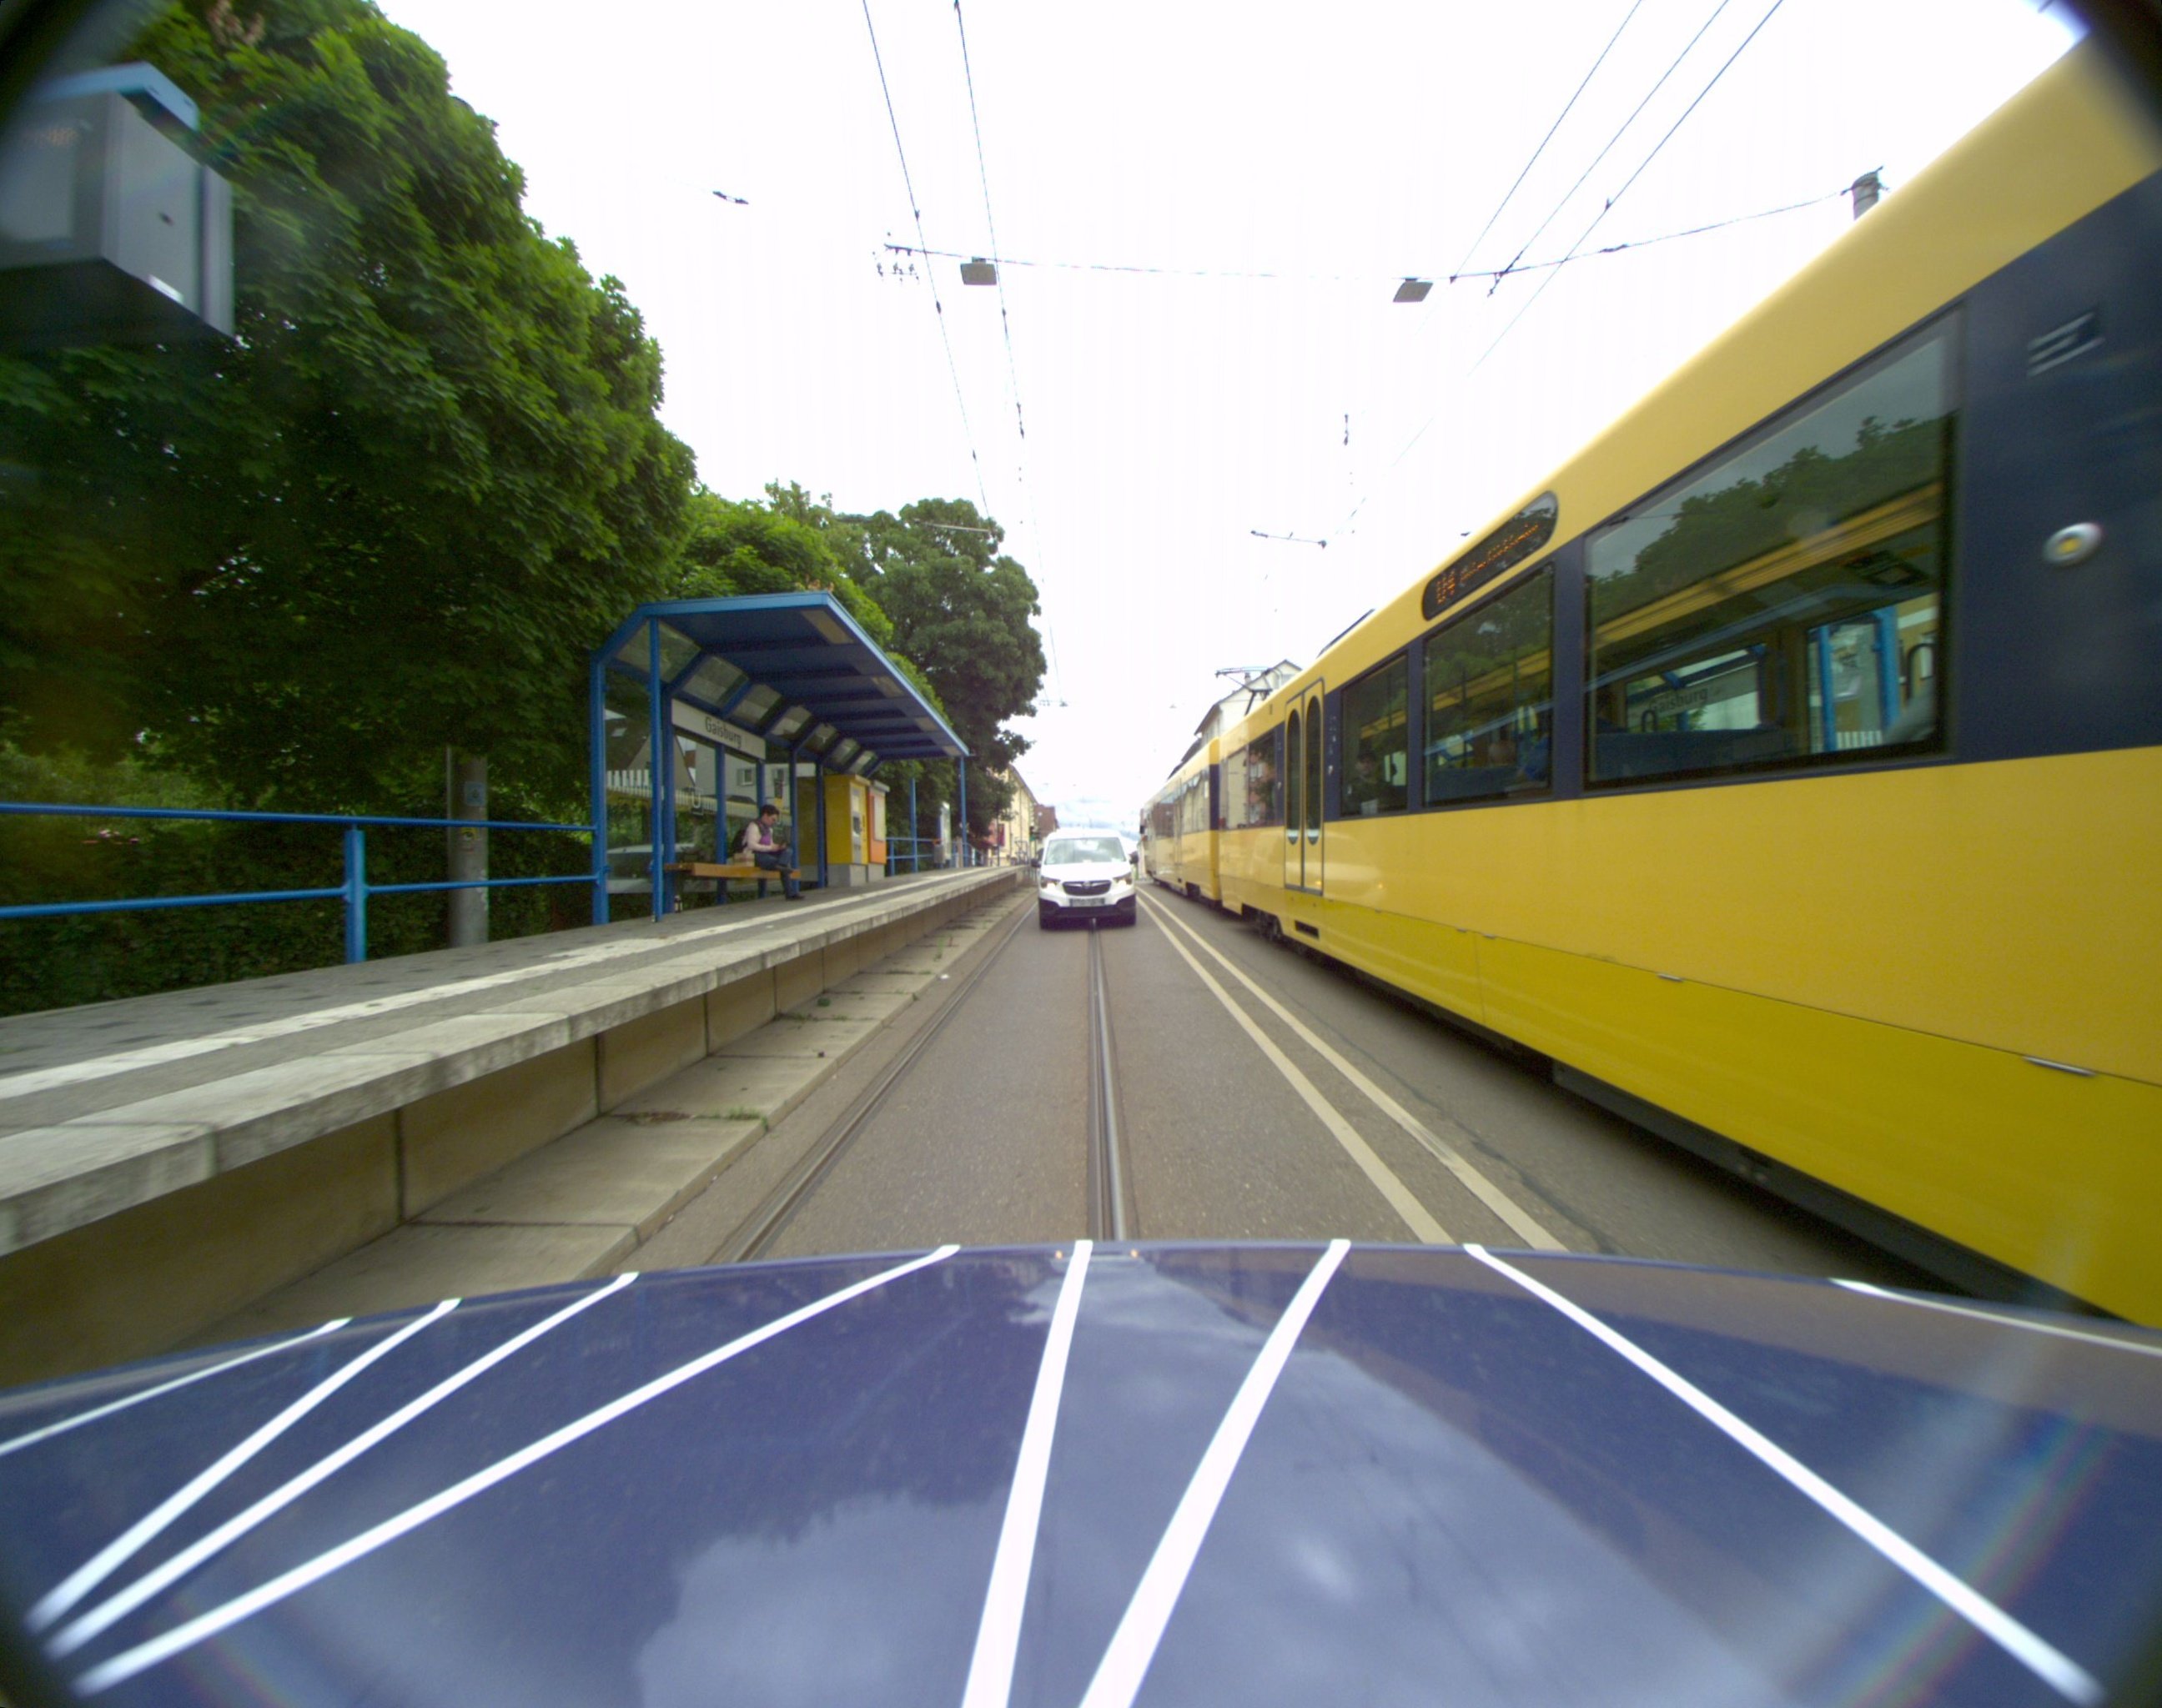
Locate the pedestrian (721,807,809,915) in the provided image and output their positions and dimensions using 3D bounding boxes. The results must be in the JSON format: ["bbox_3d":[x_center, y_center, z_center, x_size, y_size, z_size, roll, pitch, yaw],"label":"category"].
[{"bbox_3d":[-4.018,0.084,9.699,0.781,1.307,0.657,-2,1,1],"label":"pedestrian"}]

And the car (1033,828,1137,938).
[{"bbox_3d":[0.140,0.498,15.384,1.730,1.850,4.421,-2,0,2],"label":"car"}]

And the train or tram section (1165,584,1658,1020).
[{"bbox_3d":[3.505,-0.503,12.557,2.831,3.615,12.128,-2,1,0],"label":"train or tram section"}]

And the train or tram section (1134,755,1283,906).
[{"bbox_3d":[3.563,-0.641,24.724,2.758,3.615,12.128,-2,1,0],"label":"train or tram section"}]

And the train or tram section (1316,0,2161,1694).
[{"bbox_3d":[3.423,-0.235,0.439,2.857,3.615,12.128,-2,1,1],"label":"train or tram section"}]
